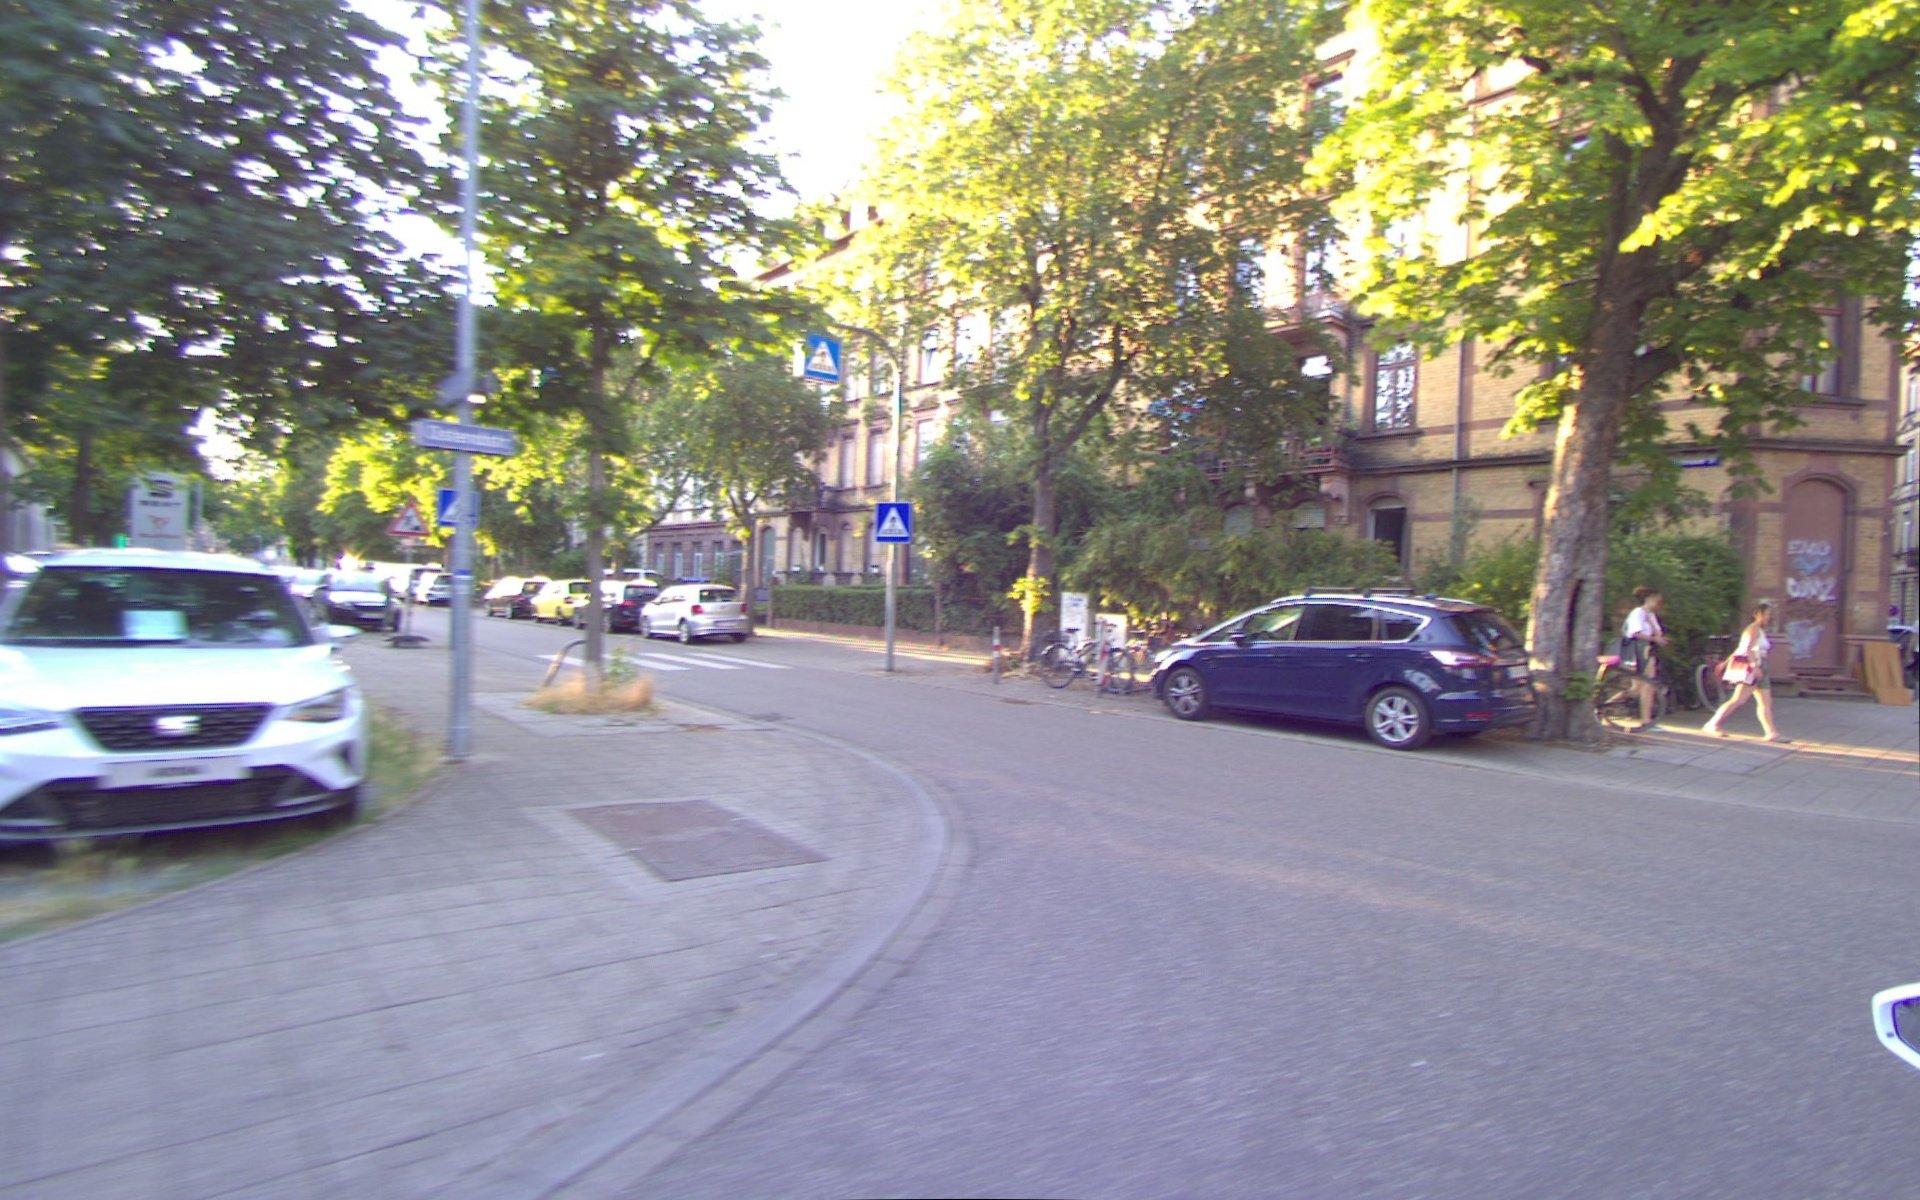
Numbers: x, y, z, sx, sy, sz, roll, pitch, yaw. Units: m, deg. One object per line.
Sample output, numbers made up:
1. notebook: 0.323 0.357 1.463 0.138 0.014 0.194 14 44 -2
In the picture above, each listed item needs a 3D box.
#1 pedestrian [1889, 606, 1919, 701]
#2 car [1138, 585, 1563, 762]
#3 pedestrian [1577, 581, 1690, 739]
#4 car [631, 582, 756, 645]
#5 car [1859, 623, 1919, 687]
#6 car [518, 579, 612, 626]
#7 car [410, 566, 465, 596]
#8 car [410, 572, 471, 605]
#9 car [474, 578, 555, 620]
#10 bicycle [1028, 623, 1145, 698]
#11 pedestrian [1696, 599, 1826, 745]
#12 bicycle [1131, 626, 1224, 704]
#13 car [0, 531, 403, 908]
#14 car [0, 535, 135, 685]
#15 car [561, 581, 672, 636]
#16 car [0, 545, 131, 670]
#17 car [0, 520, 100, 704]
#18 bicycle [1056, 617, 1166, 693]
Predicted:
1. pedestrian: 19.378 1.084 20.223 0.769 1.848 0.921 6 5 39
2. car: 4.570 0.714 12.371 1.857 1.710 4.537 0 1 -40
3. pedestrian: 8.418 0.724 12.600 0.990 1.859 0.687 3 0 24
4. car: -6.946 0.295 26.014 1.606 1.461 3.706 -2 3 -43
5. car: 25.501 1.442 26.673 1.551 1.593 4.112 1 -1 30
6. car: -13.341 0.043 33.793 1.606 1.461 4.257 0 1 -42
7. car: -26.898 -0.975 51.640 1.606 1.461 4.054 0 1 -42
8. car: -24.732 -0.567 47.757 1.606 1.461 4.054 0 1 -42
9. car: -16.624 -0.074 37.392 1.606 1.461 4.054 0 1 -42
10. bicycle: 2.015 0.943 16.153 1.778 1.051 0.604 2 3 35
11. pedestrian: 9.702 0.841 12.211 1.033 1.652 0.687 3 0 24
12. bicycle: 3.409 0.977 15.657 0.597 1.051 1.798 3 3 42
13. car: -4.818 0.474 6.122 1.754 1.593 3.856 2 0 -40
14. car: -11.925 0.072 10.905 4.556 1.638 1.850 1 1 -41
15. car: -10.231 0.195 29.757 1.606 1.461 4.257 0 1 -42
16. car: -13.534 0.063 12.787 4.556 1.593 1.850 1 1 -41
17. car: -10.521 0.067 8.764 4.556 1.665 1.850 1 1 -41
18. bicycle: 2.496 0.883 16.735 1.782 1.108 0.602 2 3 42
